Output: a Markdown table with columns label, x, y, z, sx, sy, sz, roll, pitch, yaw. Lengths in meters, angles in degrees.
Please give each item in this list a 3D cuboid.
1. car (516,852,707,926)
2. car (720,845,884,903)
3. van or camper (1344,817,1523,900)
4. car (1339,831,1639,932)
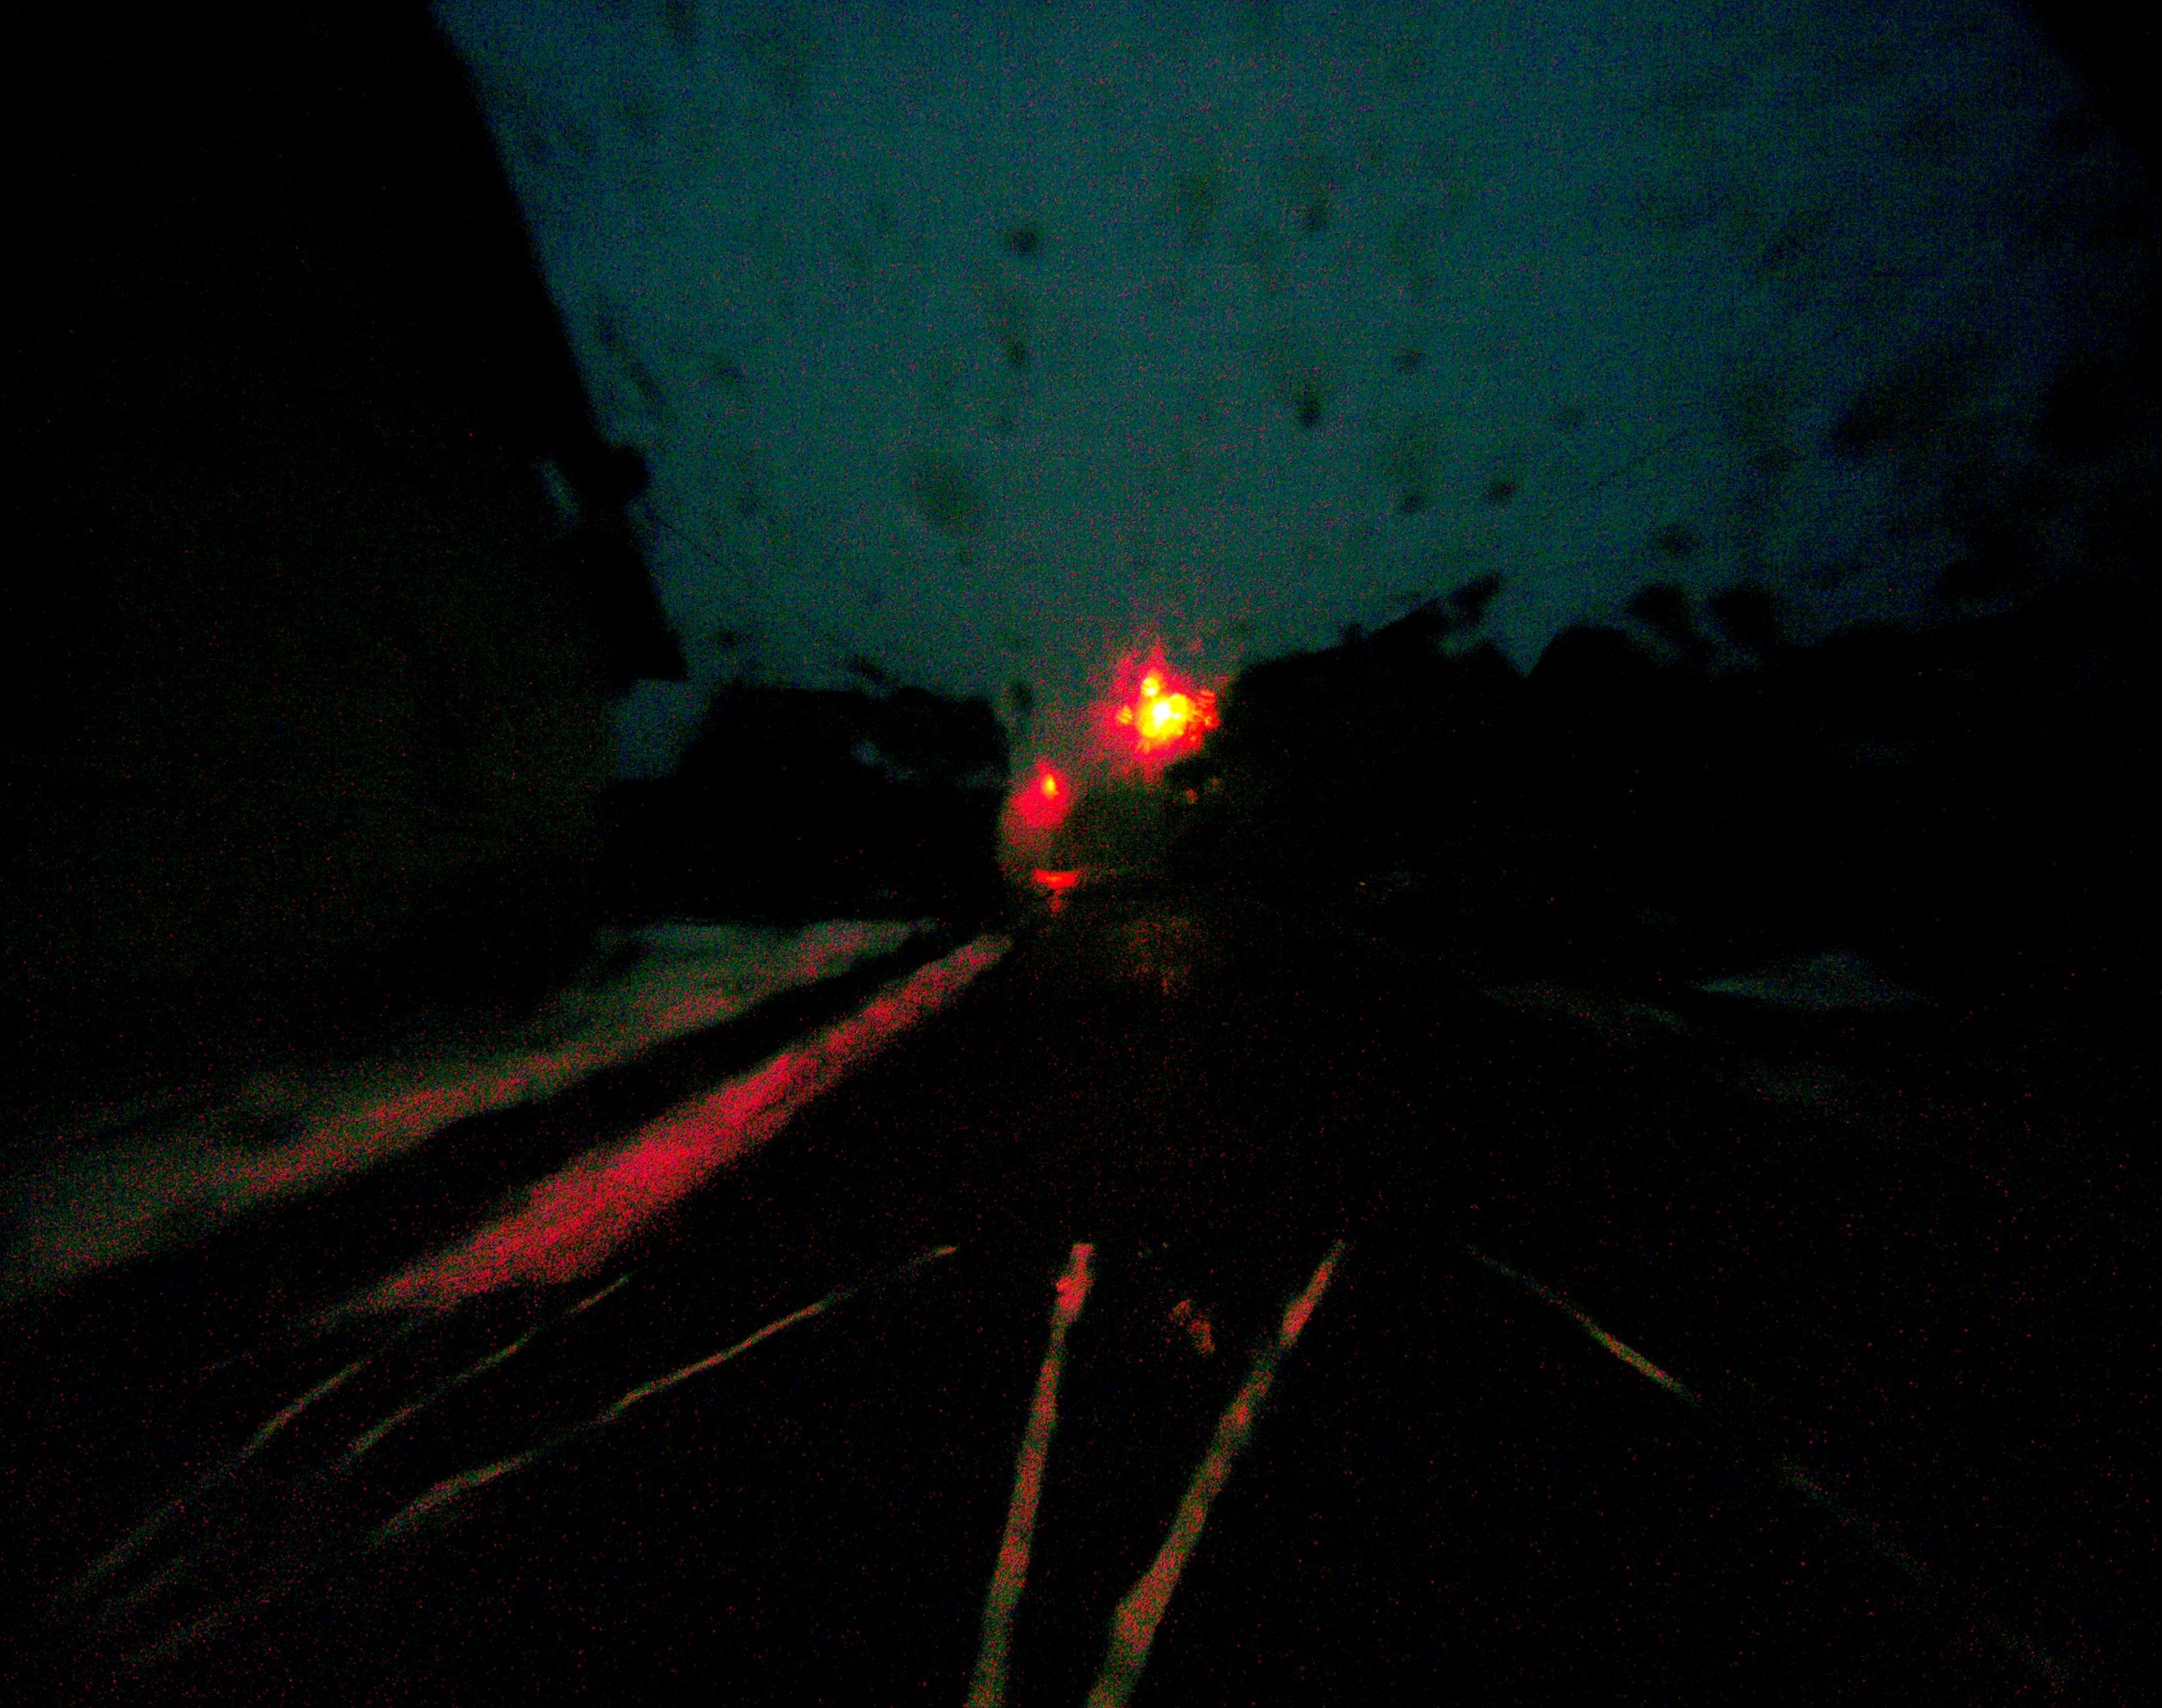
| label | x | y | z | sx | sy | sz | roll | pitch | yaw |
| --- | --- | --- | --- | --- | --- | --- | --- | --- | --- |
| car | -14.093 | 0.999 | 23.069 | 4.384 | 1.915 | 1.998 | -2 | 2 | -7 |
| car | -8.661 | 0.597 | 23.981 | 4.461 | 1.578 | 1.998 | -2 | 2 | -7 |
| van or camper | 11.221 | 0.142 | 24.185 | 5.312 | 2.434 | 2.141 | 0 | 0 | -23 |
| car | 7.817 | 0.533 | 15.014 | 4.801 | 1.657 | 1.891 | -3 | 0 | 7 |
